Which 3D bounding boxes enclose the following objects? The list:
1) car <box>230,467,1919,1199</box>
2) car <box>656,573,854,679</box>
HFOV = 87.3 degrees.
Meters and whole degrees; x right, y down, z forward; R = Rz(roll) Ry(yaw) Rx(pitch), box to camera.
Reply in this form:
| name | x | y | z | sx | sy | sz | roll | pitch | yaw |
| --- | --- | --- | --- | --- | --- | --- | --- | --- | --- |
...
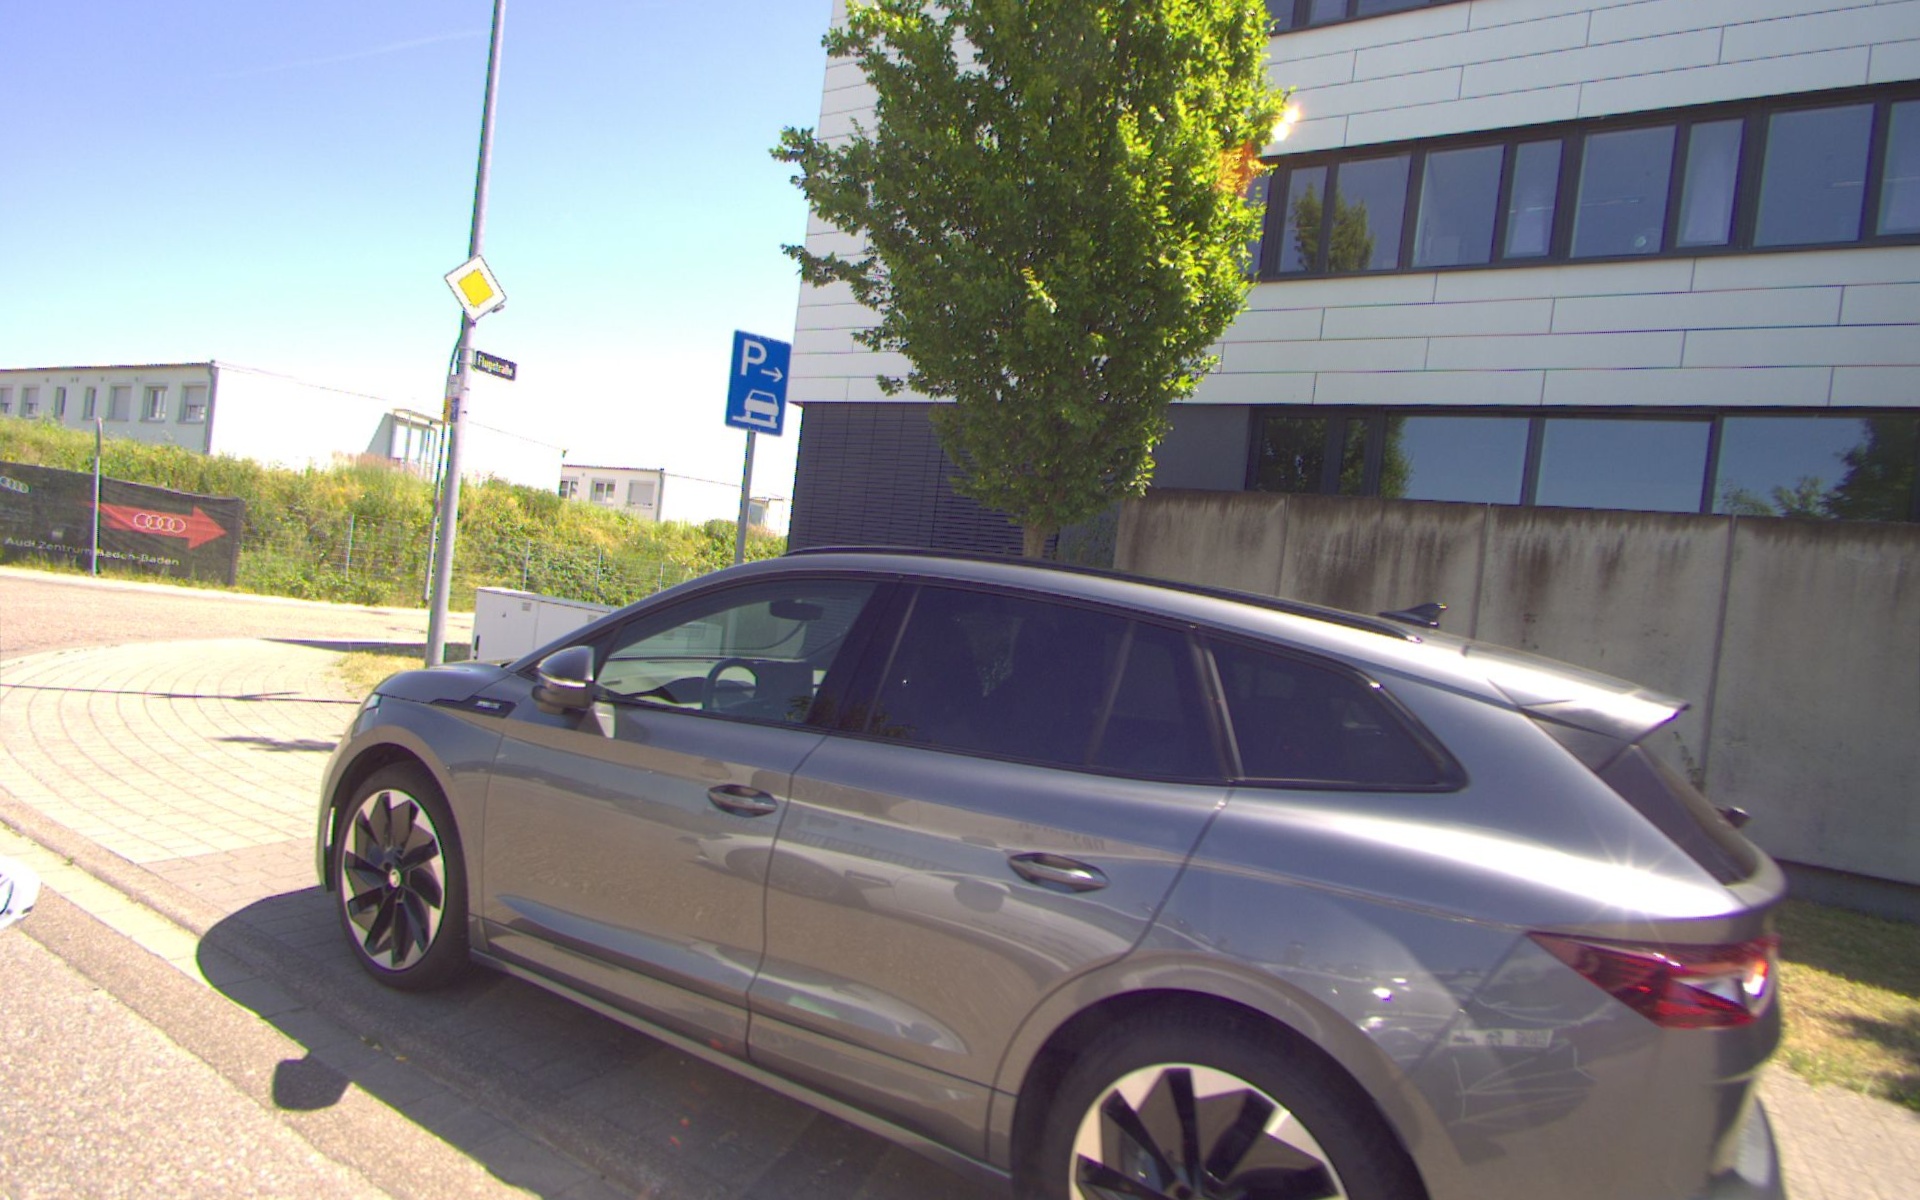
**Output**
| name | x | y | z | sx | sy | sz | roll | pitch | yaw |
| --- | --- | --- | --- | --- | --- | --- | --- | --- | --- |
| car | -0.224 | 0.632 | 3.332 | 4.529 | 1.684 | 1.805 | 7 | 3 | 30 |
| car | -4.388 | 0.526 | 21.340 | 3.937 | 1.787 | 1.720 | 6 | -1 | 35 |
